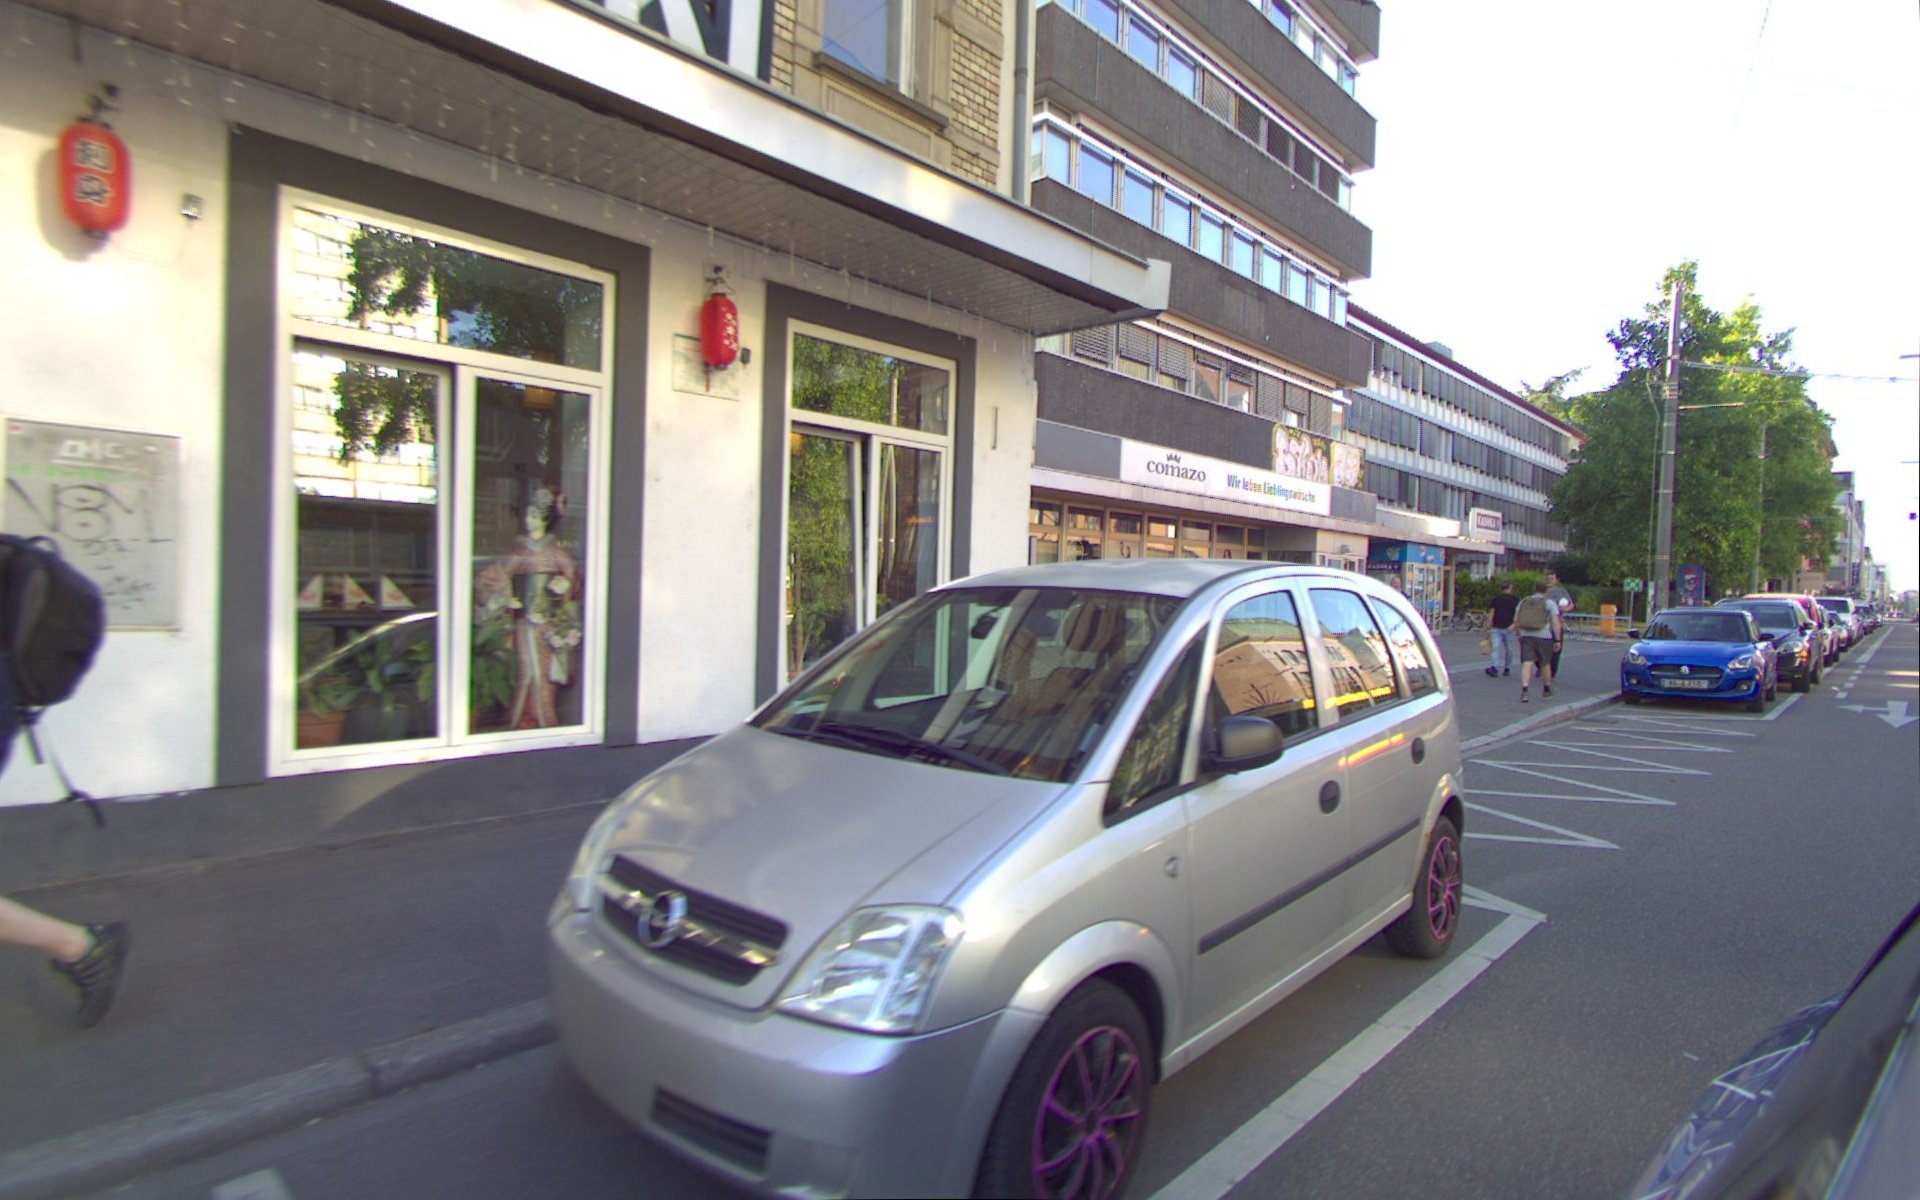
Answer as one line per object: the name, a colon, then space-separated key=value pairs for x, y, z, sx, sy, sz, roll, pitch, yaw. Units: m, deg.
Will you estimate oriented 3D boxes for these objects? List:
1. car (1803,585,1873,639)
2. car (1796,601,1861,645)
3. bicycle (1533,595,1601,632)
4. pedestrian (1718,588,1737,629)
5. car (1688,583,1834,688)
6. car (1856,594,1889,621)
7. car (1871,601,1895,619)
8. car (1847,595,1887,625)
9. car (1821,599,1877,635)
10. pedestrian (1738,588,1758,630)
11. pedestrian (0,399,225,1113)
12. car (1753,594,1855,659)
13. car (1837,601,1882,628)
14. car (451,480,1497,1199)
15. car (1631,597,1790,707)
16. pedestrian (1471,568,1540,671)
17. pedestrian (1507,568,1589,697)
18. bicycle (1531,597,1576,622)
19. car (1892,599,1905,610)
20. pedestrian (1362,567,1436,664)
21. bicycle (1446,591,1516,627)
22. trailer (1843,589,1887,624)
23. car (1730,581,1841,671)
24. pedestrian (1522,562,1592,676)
car: x=35.338 y=0.441 z=40.687 sx=1.877 sy=2.047 sz=4.827 roll=1 pitch=0 yaw=44
car: x=31.101 y=0.769 z=36.203 sx=1.673 sy=1.422 sz=4.104 roll=0 pitch=1 yaw=42
bicycle: x=20.242 y=0.439 z=33.770 sx=1.881 sy=1.109 sz=0.462 roll=3 pitch=2 yaw=43
pedestrian: x=32.838 y=0.358 z=43.278 sx=0.493 sy=1.734 sz=0.430 roll=5 pitch=3 yaw=44
car: x=15.383 y=0.567 z=19.353 sx=1.820 sy=1.779 sz=4.405 roll=1 pitch=1 yaw=43
car: x=66.104 y=0.548 z=73.274 sx=1.692 sy=1.866 sz=4.622 roll=1 pitch=1 yaw=43
car: x=74.267 y=0.794 z=81.419 sx=1.416 sy=1.452 sz=3.812 roll=1 pitch=1 yaw=43
car: x=55.522 y=0.593 z=61.947 sx=1.779 sy=1.767 sz=4.405 roll=1 pitch=1 yaw=43
car: x=39.522 y=0.709 z=44.973 sx=1.684 sy=1.511 sz=3.849 roll=0 pitch=1 yaw=44
pedestrian: x=33.294 y=0.395 z=42.757 sx=0.493 sy=1.734 sz=0.430 roll=5 pitch=3 yaw=44
pedestrian: x=-2.809 y=0.379 z=2.839 sx=0.946 sy=1.814 sz=1.038 roll=4 pitch=2 yaw=43
car: x=22.795 y=0.652 z=27.289 sx=1.787 sy=1.616 sz=4.256 roll=0 pitch=0 yaw=45
car: x=51.141 y=0.823 z=57.511 sx=1.779 sy=1.446 sz=4.146 roll=1 pitch=0 yaw=43
car: x=0.504 y=0.600 z=3.670 sx=1.637 sy=1.635 sz=3.885 roll=1 pitch=1 yaw=42
car: x=11.765 y=0.717 z=15.782 sx=1.636 sy=1.511 sz=3.737 roll=-1 pitch=0 yaw=42
pedestrian: x=9.899 y=0.337 z=18.362 sx=0.811 sy=1.778 sz=1.017 roll=3 pitch=2 yaw=43
pedestrian: x=8.373 y=0.435 z=14.405 sx=0.787 sy=1.759 sz=0.931 roll=2 pitch=1 yaw=43
bicycle: x=25.566 y=0.407 z=43.622 sx=1.597 sy=0.971 sz=0.366 roll=2 pitch=1 yaw=16
car: x=141.937 y=0.654 z=153.118 sx=1.416 sy=1.642 sz=3.570 roll=1 pitch=0 yaw=43
pedestrian: x=8.296 y=0.272 z=19.128 sx=0.901 sy=1.734 sz=1.017 roll=5 pitch=3 yaw=43
bicycle: x=17.826 y=0.301 z=34.657 sx=2.010 sy=1.109 sz=0.629 roll=4 pitch=2 yaw=38
trailer: x=58.701 y=0.395 z=65.605 sx=5.227 sy=2.176 sz=1.781 roll=0 pitch=0 yaw=-44
car: x=18.747 y=0.525 z=22.920 sx=1.675 sy=1.831 sz=4.182 roll=1 pitch=0 yaw=43
pedestrian: x=10.498 y=0.310 z=17.790 sx=0.794 sy=1.922 sz=1.017 roll=3 pitch=2 yaw=43
